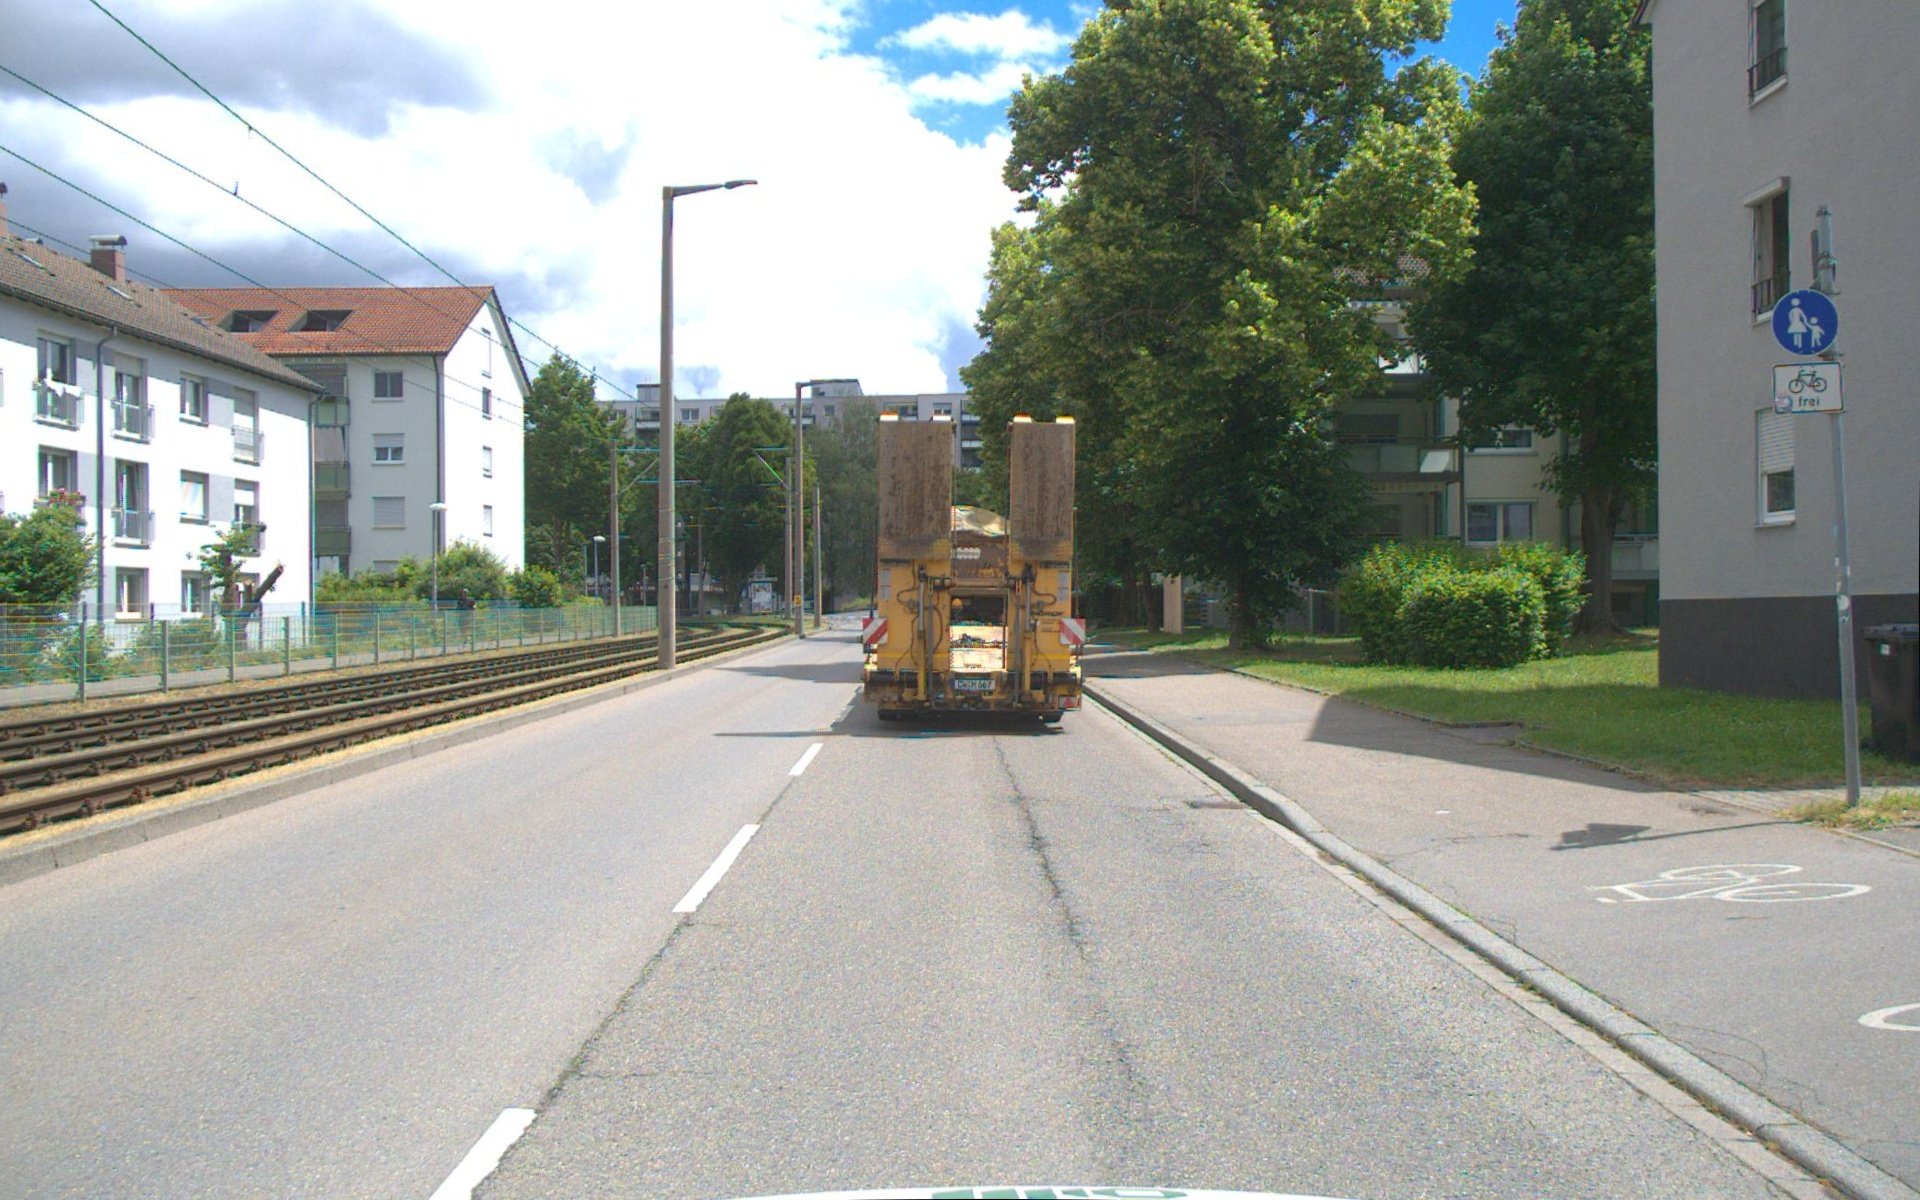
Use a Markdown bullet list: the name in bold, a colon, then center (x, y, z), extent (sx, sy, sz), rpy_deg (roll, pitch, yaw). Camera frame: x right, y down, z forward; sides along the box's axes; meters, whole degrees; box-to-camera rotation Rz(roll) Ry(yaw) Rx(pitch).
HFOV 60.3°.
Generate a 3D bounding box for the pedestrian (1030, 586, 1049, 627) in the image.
- **pedestrian**: center (3.389, 0.281, 70.610), extent (0.703, 1.736, 0.766), rpy_deg (-2, 0, -1)

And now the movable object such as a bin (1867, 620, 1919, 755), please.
- **movable object such as a bin**: center (7.284, 0.649, 12.526), extent (0.486, 0.971, 0.580), rpy_deg (-2, 0, -1)

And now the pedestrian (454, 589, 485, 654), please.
- **pedestrian**: center (-14.447, 0.635, 48.705), extent (0.646, 1.881, 0.768), rpy_deg (-2, 0, -1)

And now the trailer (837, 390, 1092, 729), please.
- **trailer**: center (-0.147, -0.463, 24.549), extent (2.770, 3.709, 12.349), rpy_deg (1, 0, -2)
